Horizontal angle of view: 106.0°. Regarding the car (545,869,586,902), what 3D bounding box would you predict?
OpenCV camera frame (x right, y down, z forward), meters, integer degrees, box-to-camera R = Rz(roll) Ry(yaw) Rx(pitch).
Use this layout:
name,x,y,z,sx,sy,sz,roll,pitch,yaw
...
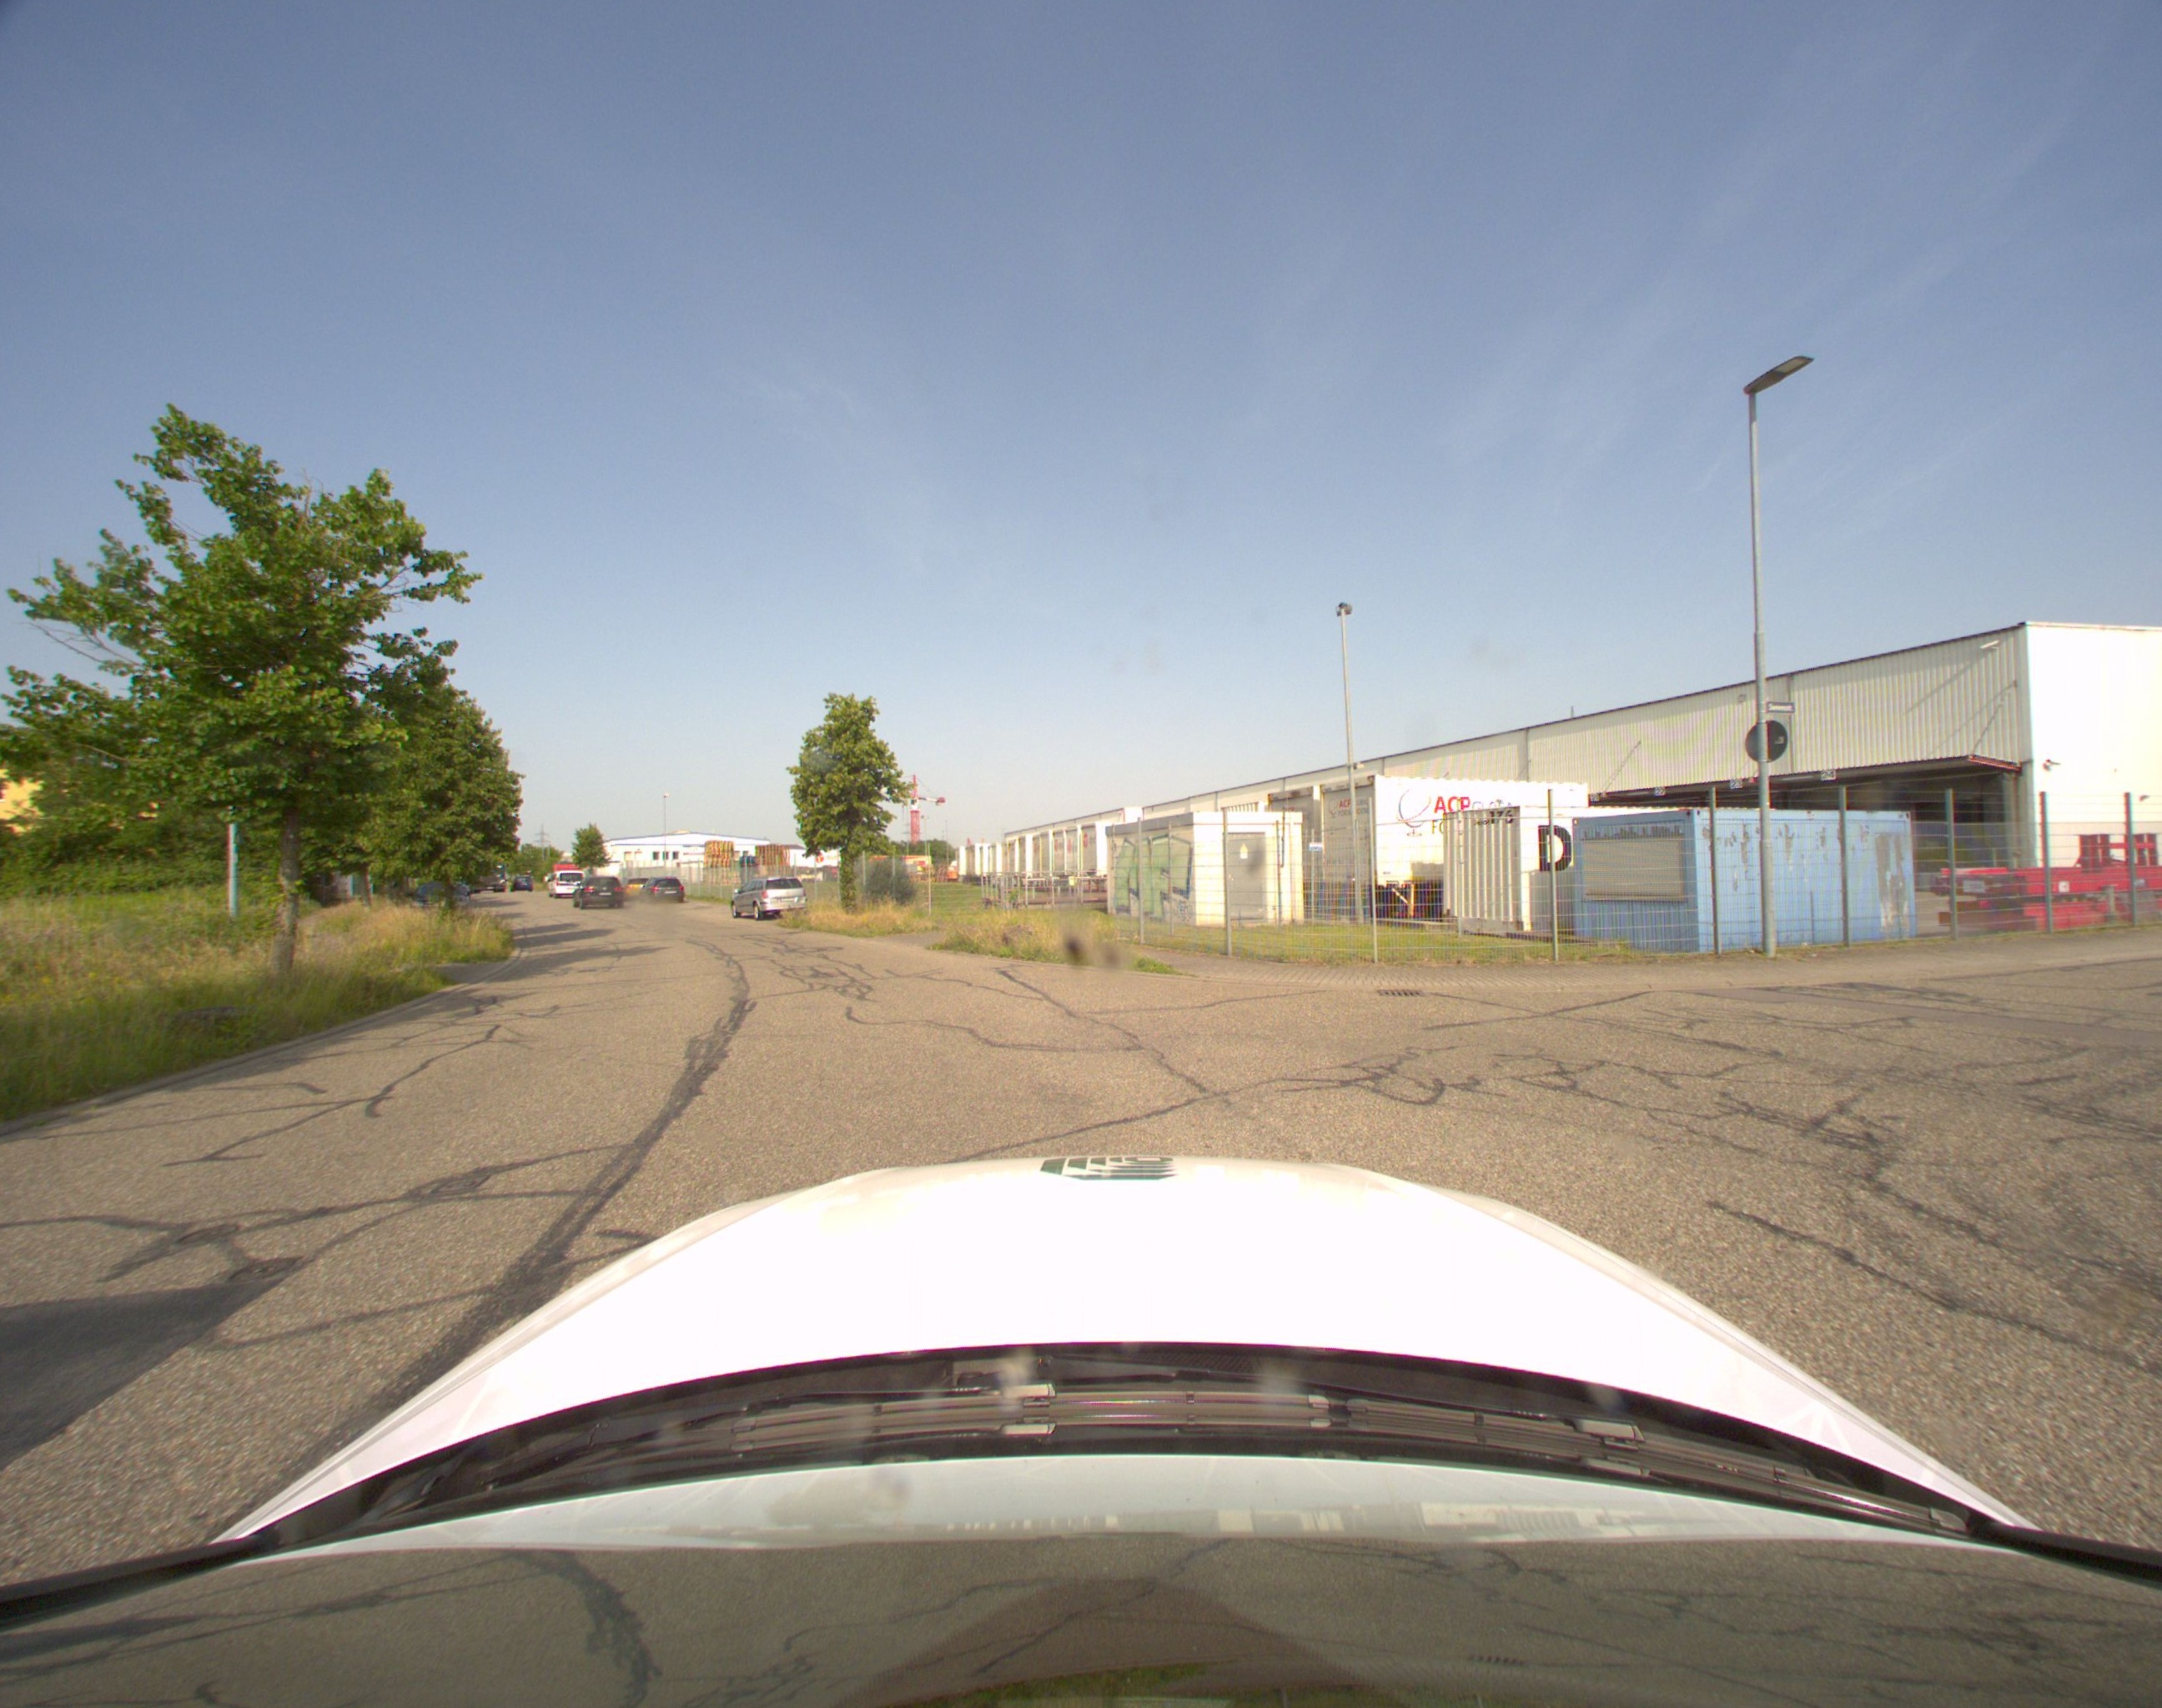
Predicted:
name,x,y,z,sx,sy,sz,roll,pitch,yaw
car,-34.929,2.094,55.132,2.137,2.110,4.574,0,-2,-35

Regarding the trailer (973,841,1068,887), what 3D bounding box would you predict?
name,x,y,z,sx,sy,sz,roll,pitch,yaw
trailer,-5.447,0.929,73.444,7.988,3.894,2.757,2,-1,-20

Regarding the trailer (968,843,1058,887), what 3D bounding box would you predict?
name,x,y,z,sx,sy,sz,roll,pitch,yaw
trailer,-6.395,1.070,76.667,7.988,3.894,2.757,2,-1,-20

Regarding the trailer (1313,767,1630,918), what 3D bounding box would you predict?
name,x,y,z,sx,sy,sz,roll,pitch,yaw
trailer,11.266,-0.249,23.551,8.557,3.895,2.759,0,-3,-17

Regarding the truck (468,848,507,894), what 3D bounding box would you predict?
name,x,y,z,sx,sy,sz,roll,pitch,yaw
truck,-57.461,1.670,78.781,2.519,4.145,10.259,-2,0,-39

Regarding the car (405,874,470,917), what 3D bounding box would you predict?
name,x,y,z,sx,sy,sz,roll,pitch,yaw
car,-26.110,1.656,33.124,1.918,1.626,4.399,2,-2,-37

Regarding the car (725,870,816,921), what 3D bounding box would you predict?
name,x,y,z,sx,sy,sz,roll,pitch,yaw
car,-11.470,1.469,29.909,1.814,1.626,4.398,-2,0,-38

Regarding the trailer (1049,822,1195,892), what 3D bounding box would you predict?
name,x,y,z,sx,sy,sz,roll,pitch,yaw
trailer,2.495,0.232,49.125,8.333,3.894,2.757,2,-1,-20

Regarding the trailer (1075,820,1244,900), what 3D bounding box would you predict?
name,x,y,z,sx,sy,sz,roll,pitch,yaw
trailer,4.180,0.391,43.245,8.563,3.894,2.757,2,-1,-20

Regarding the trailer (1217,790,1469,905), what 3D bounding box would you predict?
name,x,y,z,sx,sy,sz,roll,pitch,yaw
trailer,9.443,-0.170,29.337,8.759,3.761,2.772,0,-2,-20

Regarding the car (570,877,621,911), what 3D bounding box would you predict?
name,x,y,z,sx,sy,sz,roll,pitch,yaw
car,-24.965,2.031,41.805,1.895,1.586,4.067,0,-2,-36

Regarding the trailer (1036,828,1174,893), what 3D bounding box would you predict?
name,x,y,z,sx,sy,sz,roll,pitch,yaw
trailer,1.532,0.482,52.010,8.333,3.894,2.757,2,-1,-20

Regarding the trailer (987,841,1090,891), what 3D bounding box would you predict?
name,x,y,z,sx,sy,sz,roll,pitch,yaw
trailer,-3.497,0.998,67.306,7.988,3.894,2.757,2,-1,-20

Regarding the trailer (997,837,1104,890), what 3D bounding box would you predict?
name,x,y,z,sx,sy,sz,roll,pitch,yaw
trailer,-2.407,0.802,64.254,7.988,3.894,2.757,2,-1,-20

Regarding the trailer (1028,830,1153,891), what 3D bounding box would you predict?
name,x,y,z,sx,sy,sz,roll,pitch,yaw
trailer,0.668,0.484,55.878,8.058,3.894,2.757,2,-1,-20

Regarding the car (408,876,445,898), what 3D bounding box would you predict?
name,x,y,z,sx,sy,sz,roll,pitch,yaw
car,-44.461,2.224,55.382,1.847,1.496,4.003,2,-2,-37

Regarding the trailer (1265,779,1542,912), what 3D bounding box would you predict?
name,x,y,z,sx,sy,sz,roll,pitch,yaw
trailer,10.504,-0.308,26.525,8.559,3.894,2.759,-1,-1,-18

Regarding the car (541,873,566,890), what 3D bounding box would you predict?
name,x,y,z,sx,sy,sz,roll,pitch,yaw
car,-55.493,2.879,85.660,1.729,1.680,3.904,1,-2,-39

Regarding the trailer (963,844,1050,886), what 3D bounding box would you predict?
name,x,y,z,sx,sy,sz,roll,pitch,yaw
trailer,-7.261,1.097,79.459,7.988,3.894,2.757,2,-1,-20

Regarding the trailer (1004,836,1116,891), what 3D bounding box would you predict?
name,x,y,z,sx,sy,sz,roll,pitch,yaw
trailer,-1.582,0.737,61.402,7.988,3.894,2.757,2,-1,-20

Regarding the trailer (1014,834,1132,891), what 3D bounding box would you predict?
name,x,y,z,sx,sy,sz,roll,pitch,yaw
trailer,-0.577,0.654,58.577,7.988,3.894,2.757,2,-1,-20

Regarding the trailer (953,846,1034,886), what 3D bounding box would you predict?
name,x,y,z,sx,sy,sz,roll,pitch,yaw
trailer,-9.141,1.290,85.145,7.988,3.894,2.724,2,-1,-20

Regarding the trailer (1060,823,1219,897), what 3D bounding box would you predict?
name,x,y,z,sx,sy,sz,roll,pitch,yaw
trailer,3.332,0.428,46.253,8.563,3.894,2.757,2,-1,-20

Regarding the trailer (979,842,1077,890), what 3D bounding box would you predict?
name,x,y,z,sx,sy,sz,roll,pitch,yaw
trailer,-4.565,1.086,70.530,7.988,3.894,2.757,2,-1,-20

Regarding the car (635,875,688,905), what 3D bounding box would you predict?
name,x,y,z,sx,sy,sz,roll,pitch,yaw
car,-23.607,1.995,45.771,1.729,1.515,3.956,-2,0,-40

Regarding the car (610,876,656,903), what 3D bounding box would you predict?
name,x,y,z,sx,sy,sz,roll,pitch,yaw
car,-27.512,2.149,49.922,1.729,1.455,4.138,-2,0,-39
